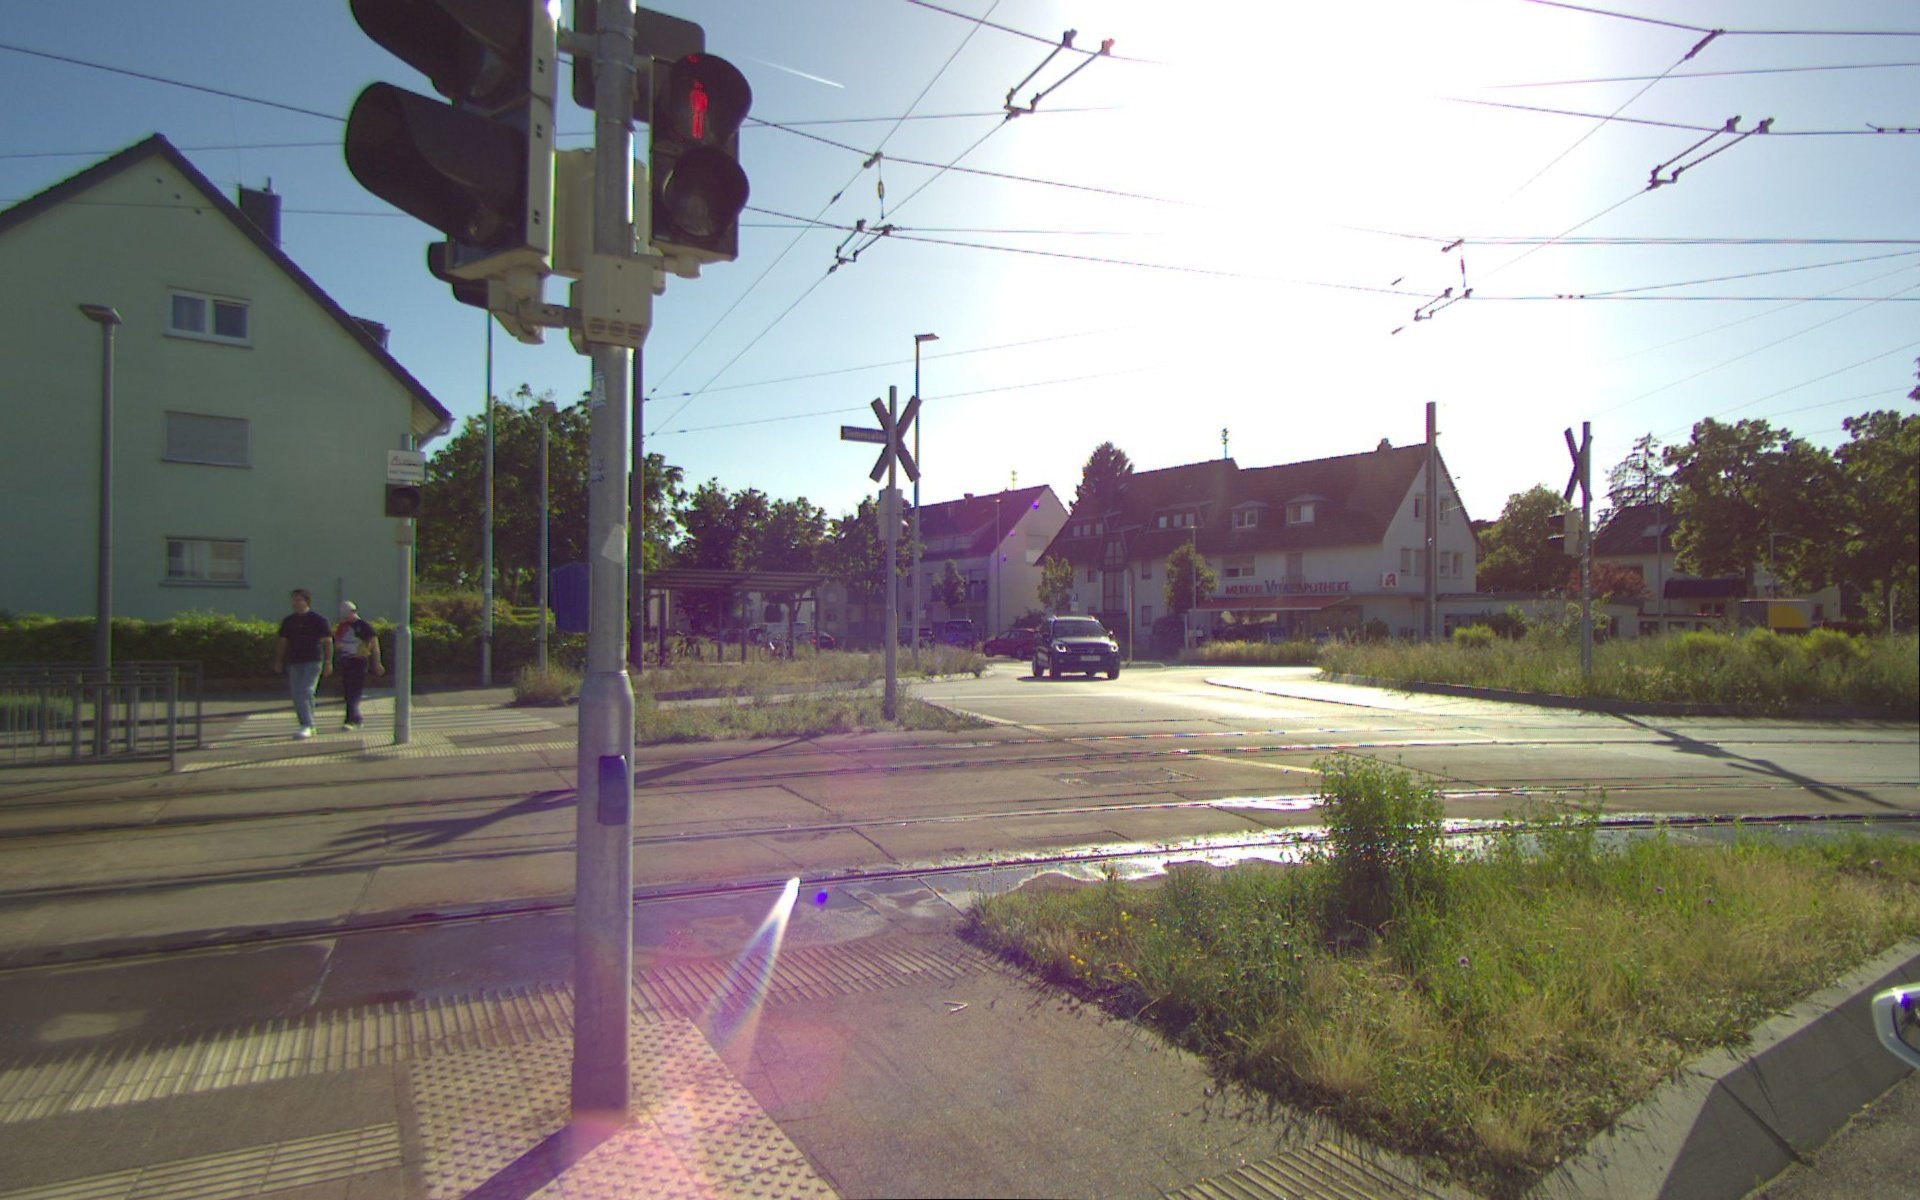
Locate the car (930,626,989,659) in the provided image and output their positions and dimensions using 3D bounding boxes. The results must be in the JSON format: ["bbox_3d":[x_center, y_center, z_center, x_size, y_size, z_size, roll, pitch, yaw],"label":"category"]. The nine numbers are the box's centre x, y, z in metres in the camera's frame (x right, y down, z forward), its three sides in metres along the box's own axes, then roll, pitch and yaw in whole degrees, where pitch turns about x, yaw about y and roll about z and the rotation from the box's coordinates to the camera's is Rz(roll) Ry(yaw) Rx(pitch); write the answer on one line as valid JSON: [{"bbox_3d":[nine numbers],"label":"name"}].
[{"bbox_3d":[-0.061,2.291,54.320,3.020,1.641,1.409,1,0,-7],"label":"car"}]

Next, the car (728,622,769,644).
[{"bbox_3d":[-16.340,2.550,77.657,1.531,1.613,4.034,1,-1,-37],"label":"car"}]

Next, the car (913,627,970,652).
[{"bbox_3d":[-1.096,2.300,58.674,3.107,1.315,1.380,1,0,-12],"label":"car"}]

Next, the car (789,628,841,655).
[{"bbox_3d":[-9.796,2.776,67.555,1.904,1.637,4.246,1,0,-32],"label":"car"}]

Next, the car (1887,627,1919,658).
[{"bbox_3d":[49.228,2.176,51.548,3.766,1.484,1.786,1,0,-37],"label":"car"}]

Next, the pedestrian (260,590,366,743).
[{"bbox_3d":[-8.008,0.805,12.452,0.678,1.794,0.823,3,-1,34],"label":"pedestrian"}]

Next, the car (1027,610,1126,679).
[{"bbox_3d":[3.082,1.208,27.393,1.783,1.692,4.255,-1,-2,-6],"label":"car"}]

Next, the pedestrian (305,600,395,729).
[{"bbox_3d":[-8.427,0.871,13.880,0.783,1.683,0.725,3,-1,34],"label":"pedestrian"}]

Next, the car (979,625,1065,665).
[{"bbox_3d":[3.039,2.205,50.105,1.981,1.721,4.325,1,0,-36],"label":"car"}]

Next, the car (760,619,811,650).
[{"bbox_3d":[-12.715,2.485,73.155,1.879,2.041,4.324,1,0,-37],"label":"car"}]

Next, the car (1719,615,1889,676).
[{"bbox_3d":[30.637,1.667,36.519,5.147,2.007,1.996,2,-3,-12],"label":"car"}]
